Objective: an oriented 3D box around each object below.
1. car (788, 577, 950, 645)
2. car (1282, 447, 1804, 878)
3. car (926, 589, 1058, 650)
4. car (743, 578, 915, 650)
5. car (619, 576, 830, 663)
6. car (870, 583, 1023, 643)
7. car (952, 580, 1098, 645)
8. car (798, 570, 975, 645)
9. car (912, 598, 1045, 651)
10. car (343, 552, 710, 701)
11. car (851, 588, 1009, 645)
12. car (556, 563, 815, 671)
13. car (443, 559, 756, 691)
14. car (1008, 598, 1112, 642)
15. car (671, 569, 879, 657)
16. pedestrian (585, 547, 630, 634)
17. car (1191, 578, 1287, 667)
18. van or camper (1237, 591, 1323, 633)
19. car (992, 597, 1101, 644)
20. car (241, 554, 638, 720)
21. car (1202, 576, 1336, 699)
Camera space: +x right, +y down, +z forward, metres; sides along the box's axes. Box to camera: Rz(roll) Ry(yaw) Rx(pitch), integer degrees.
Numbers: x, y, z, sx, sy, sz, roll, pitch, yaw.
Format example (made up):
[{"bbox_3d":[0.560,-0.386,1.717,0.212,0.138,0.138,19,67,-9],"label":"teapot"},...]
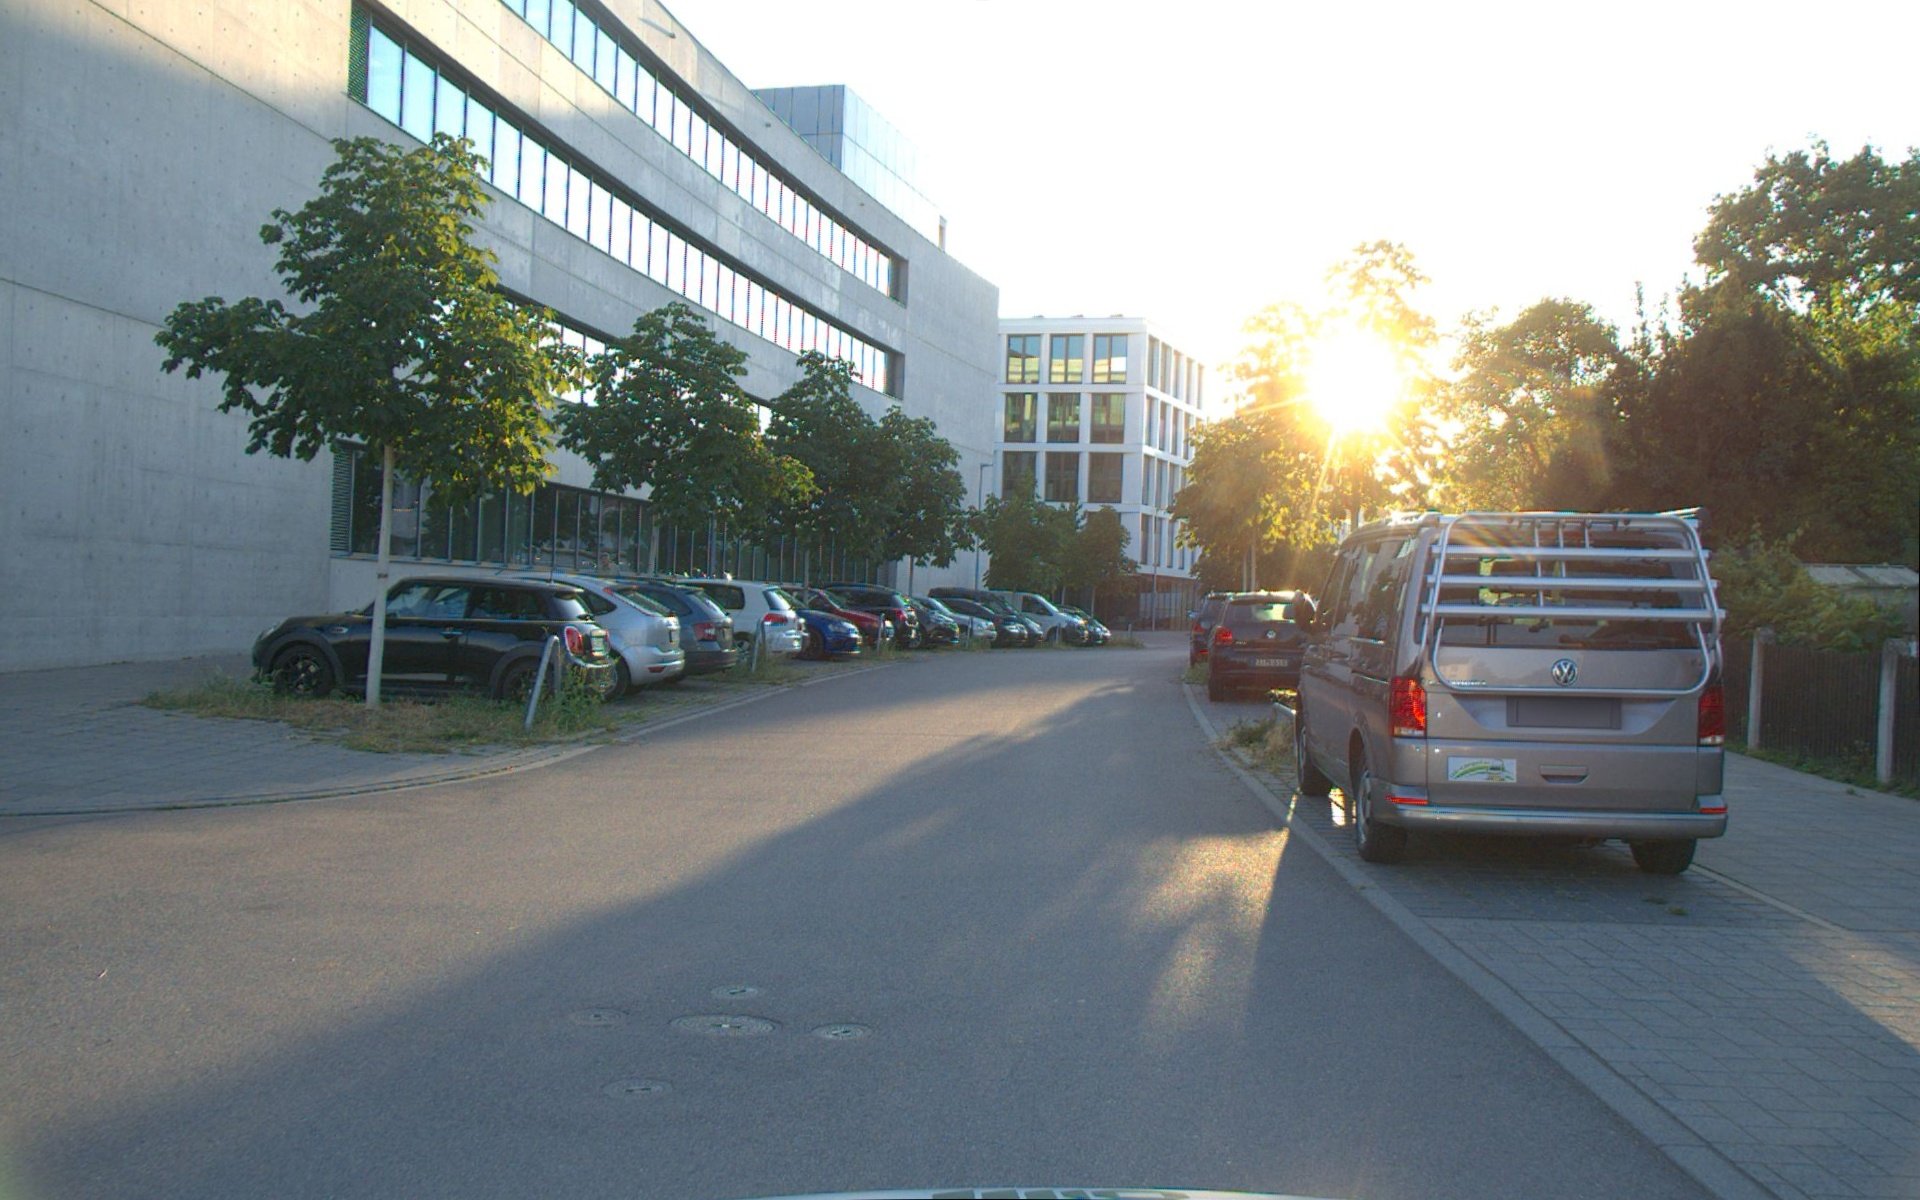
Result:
[{"bbox_3d":[-2.217,0.277,40.667,3.623,1.483,1.680,3,0,11],"label":"car"},{"bbox_3d":[3.415,0.290,10.810,2.022,2.131,4.875,1,0,5],"label":"car"},{"bbox_3d":[1.112,0.659,56.830,4.158,1.772,1.726,4,0,14],"label":"car"},{"bbox_3d":[-3.028,0.332,38.590,3.623,1.483,1.713,3,0,9],"label":"car"},{"bbox_3d":[-4.354,0.347,30.863,3.557,1.385,1.687,3,1,3],"label":"car"},{"bbox_3d":[-0.407,0.414,51.265,4.306,1.525,1.764,4,0,18],"label":"car"},{"bbox_3d":[2.417,0.469,61.058,4.970,1.980,1.890,4,0,15],"label":"car"},{"bbox_3d":[-1.895,0.191,43.292,4.217,1.726,1.898,3,0,11],"label":"car"},{"bbox_3d":[0.633,0.809,54.891,4.057,1.428,1.726,4,0,14],"label":"car"},{"bbox_3d":[-5.335,0.313,20.716,4.001,1.555,1.847,3,0,2],"label":"car"},{"bbox_3d":[-0.888,0.458,49.098,4.339,1.489,1.764,2,1,14],"label":"car"},{"bbox_3d":[-4.572,0.264,27.863,3.903,1.537,1.761,3,1,7],"label":"car"},{"bbox_3d":[-4.953,0.319,23.018,3.915,1.538,1.585,3,2,2],"label":"car"},{"bbox_3d":[4.013,0.796,66.241,3.805,1.514,1.652,4,0,17],"label":"car"},{"bbox_3d":[-3.713,0.246,33.514,3.788,1.537,1.761,3,1,9],"label":"car"},{"bbox_3d":[-7.542,-0.206,35.418,0.632,1.815,0.725,3,0,8],"label":"pedestrian"},{"bbox_3d":[5.444,0.395,32.121,1.674,1.577,4.552,1,0,10],"label":"car"},{"bbox_3d":[21.668,0.783,112.111,5.343,2.527,1.775,3,1,23],"label":"van or camper"},{"bbox_3d":[3.375,0.798,64.405,3.903,1.548,1.607,4,0,14],"label":"car"},{"bbox_3d":[-5.560,0.361,17.980,3.657,1.507,1.770,3,1,2],"label":"car"},{"bbox_3d":[4.316,0.480,23.495,1.703,1.579,3.643,1,0,8],"label":"car"}]
